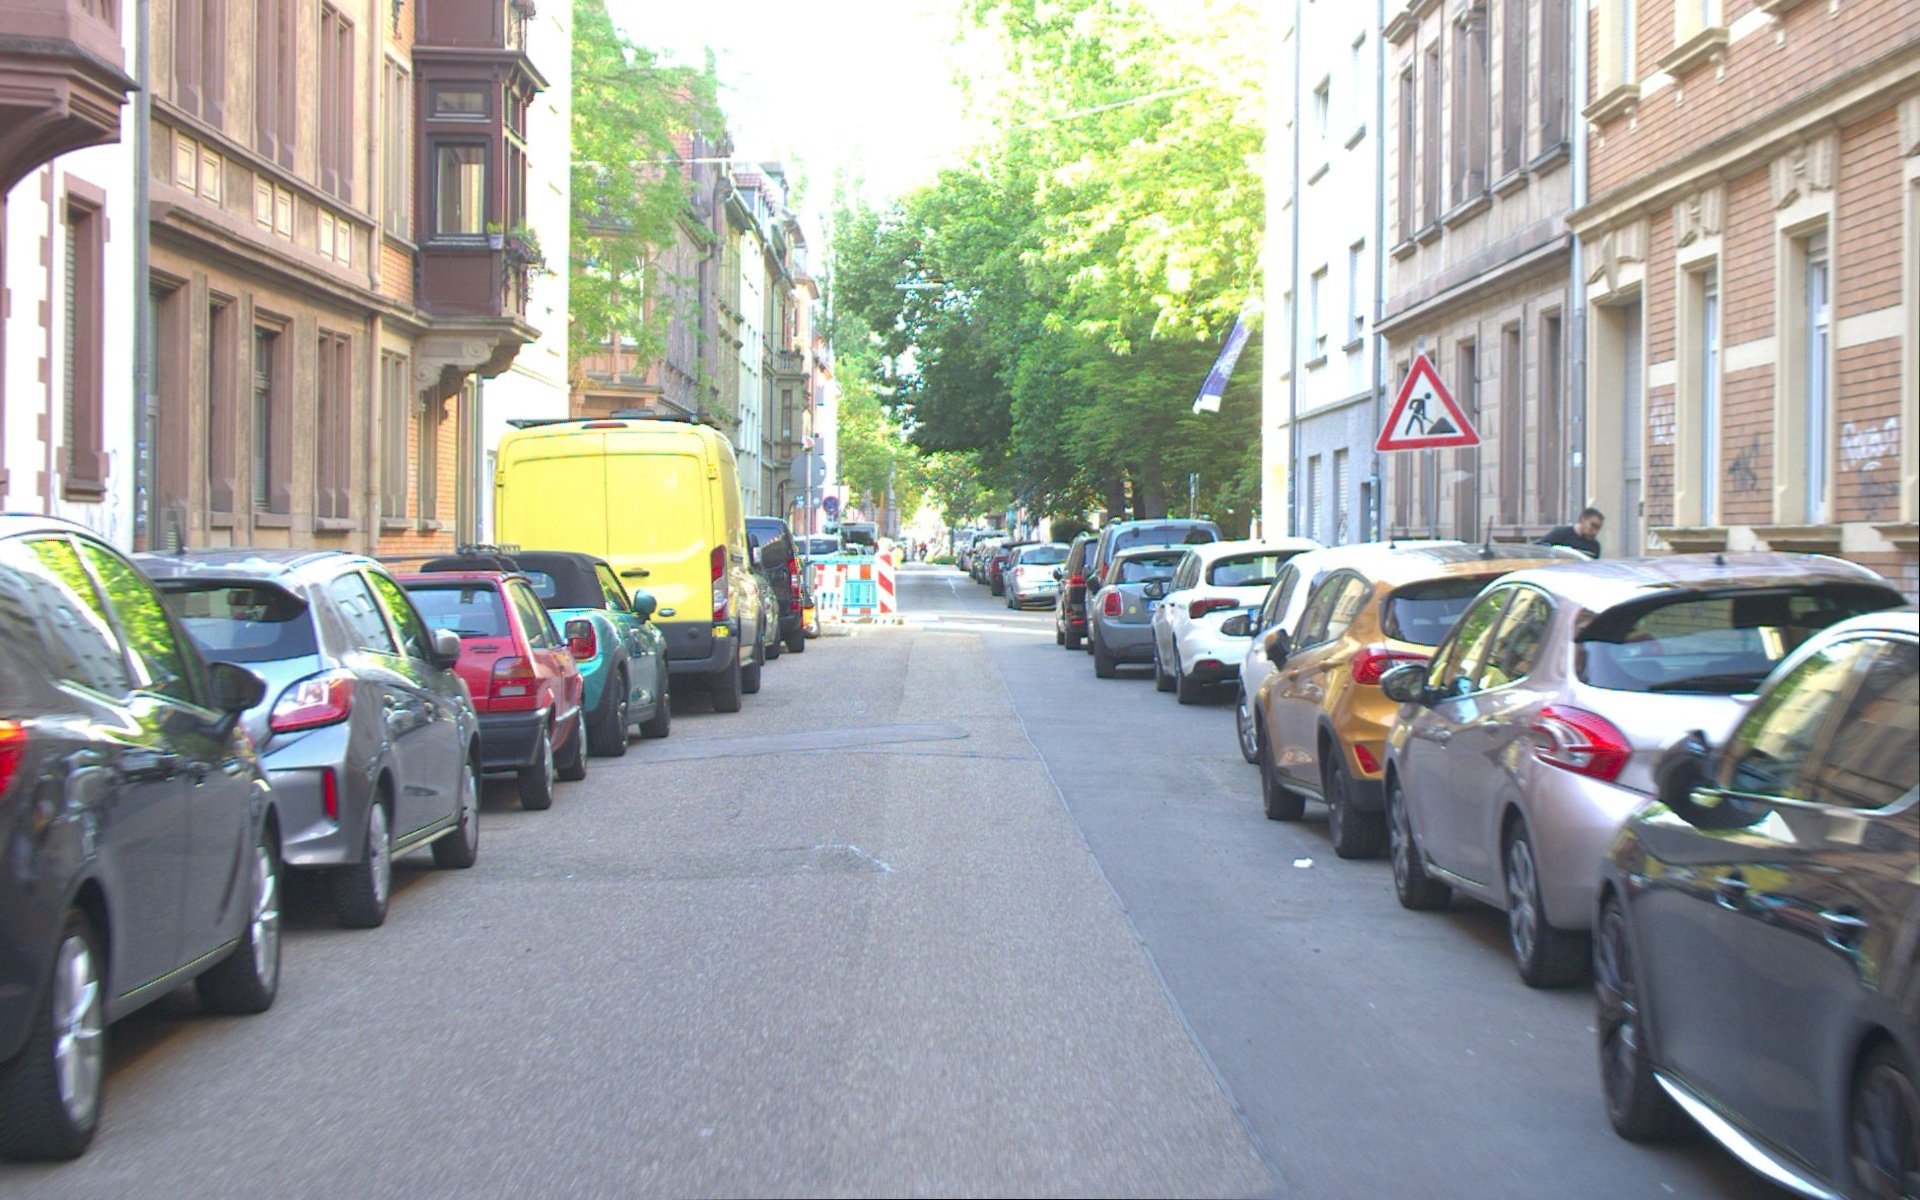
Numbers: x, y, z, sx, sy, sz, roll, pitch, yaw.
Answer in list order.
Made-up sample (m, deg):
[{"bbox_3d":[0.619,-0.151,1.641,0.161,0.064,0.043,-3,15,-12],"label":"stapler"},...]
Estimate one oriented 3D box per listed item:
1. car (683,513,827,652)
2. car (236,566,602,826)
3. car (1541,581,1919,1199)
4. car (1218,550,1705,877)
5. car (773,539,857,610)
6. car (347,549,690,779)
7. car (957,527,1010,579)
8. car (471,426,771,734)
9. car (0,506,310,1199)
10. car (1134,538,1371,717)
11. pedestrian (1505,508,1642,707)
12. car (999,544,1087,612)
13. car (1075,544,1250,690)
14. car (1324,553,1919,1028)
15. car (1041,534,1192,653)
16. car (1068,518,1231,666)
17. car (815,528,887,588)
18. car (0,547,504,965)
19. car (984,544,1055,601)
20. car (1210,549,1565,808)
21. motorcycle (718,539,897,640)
[{"bbox_3d":[-2.748,-0.261,46.271,1.818,1.760,4.336,1,1,-3],"label":"car"},{"bbox_3d":[-3.104,0.500,20.340,1.618,1.322,3.613,-2,1,-1],"label":"car"},{"bbox_3d":[2.501,0.704,7.333,1.777,1.392,4.317,1,1,0],"label":"car"},{"bbox_3d":[2.487,0.498,18.017,1.753,1.441,4.069,-3,1,-2],"label":"car"},{"bbox_3d":[-3.576,-0.632,85.297,1.882,1.701,4.000,-1,0,0],"label":"car"},{"bbox_3d":[-3.098,0.397,24.847,1.718,1.408,3.897,-4,1,3],"label":"car"},{"bbox_3d":[1.023,-2.053,150.798,2.160,2.248,4.526,1,0,-1],"label":"car"},{"bbox_3d":[-2.977,-0.216,31.513,2.175,2.499,5.879,-2,1,-1],"label":"car"},{"bbox_3d":[-3.024,0.546,9.517,1.781,1.600,4.070,1,1,-2],"label":"car"},{"bbox_3d":[2.785,0.213,33.628,1.753,1.513,4.444,-4,1,-1],"label":"car"},{"bbox_3d":[5.125,0.059,28.736,0.653,1.625,0.880,-1,0,-42],"label":"pedestrian"},{"bbox_3d":[1.884,-0.526,79.054,1.723,1.517,4.001,0,1,-3],"label":"car"},{"bbox_3d":[2.270,0.145,39.517,1.754,1.448,4.288,-4,1,1],"label":"car"},{"bbox_3d":[2.593,0.593,13.273,1.725,1.412,4.094,-4,1,-2],"label":"car"},{"bbox_3d":[2.217,-0.108,49.622,1.900,1.634,4.391,1,0,-1],"label":"car"},{"bbox_3d":[2.423,-0.154,44.951,1.753,1.780,4.724,-2,1,-1],"label":"car"},{"bbox_3d":[-3.882,-1.498,123.214,2.309,2.107,5.170,1,0,1],"label":"car"},{"bbox_3d":[-3.052,0.547,14.554,1.694,1.469,3.919,-2,1,0],"label":"car"},{"bbox_3d":[1.712,-0.801,100.338,1.894,1.620,4.000,1,0,-1],"label":"car"},{"bbox_3d":[2.754,0.450,22.990,1.720,1.475,4.083,-3,1,-1],"label":"car"},{"bbox_3d":[-2.283,-0.158,51.555,2.511,1.477,0.904,1,1,-27],"label":"motorcycle"}]
